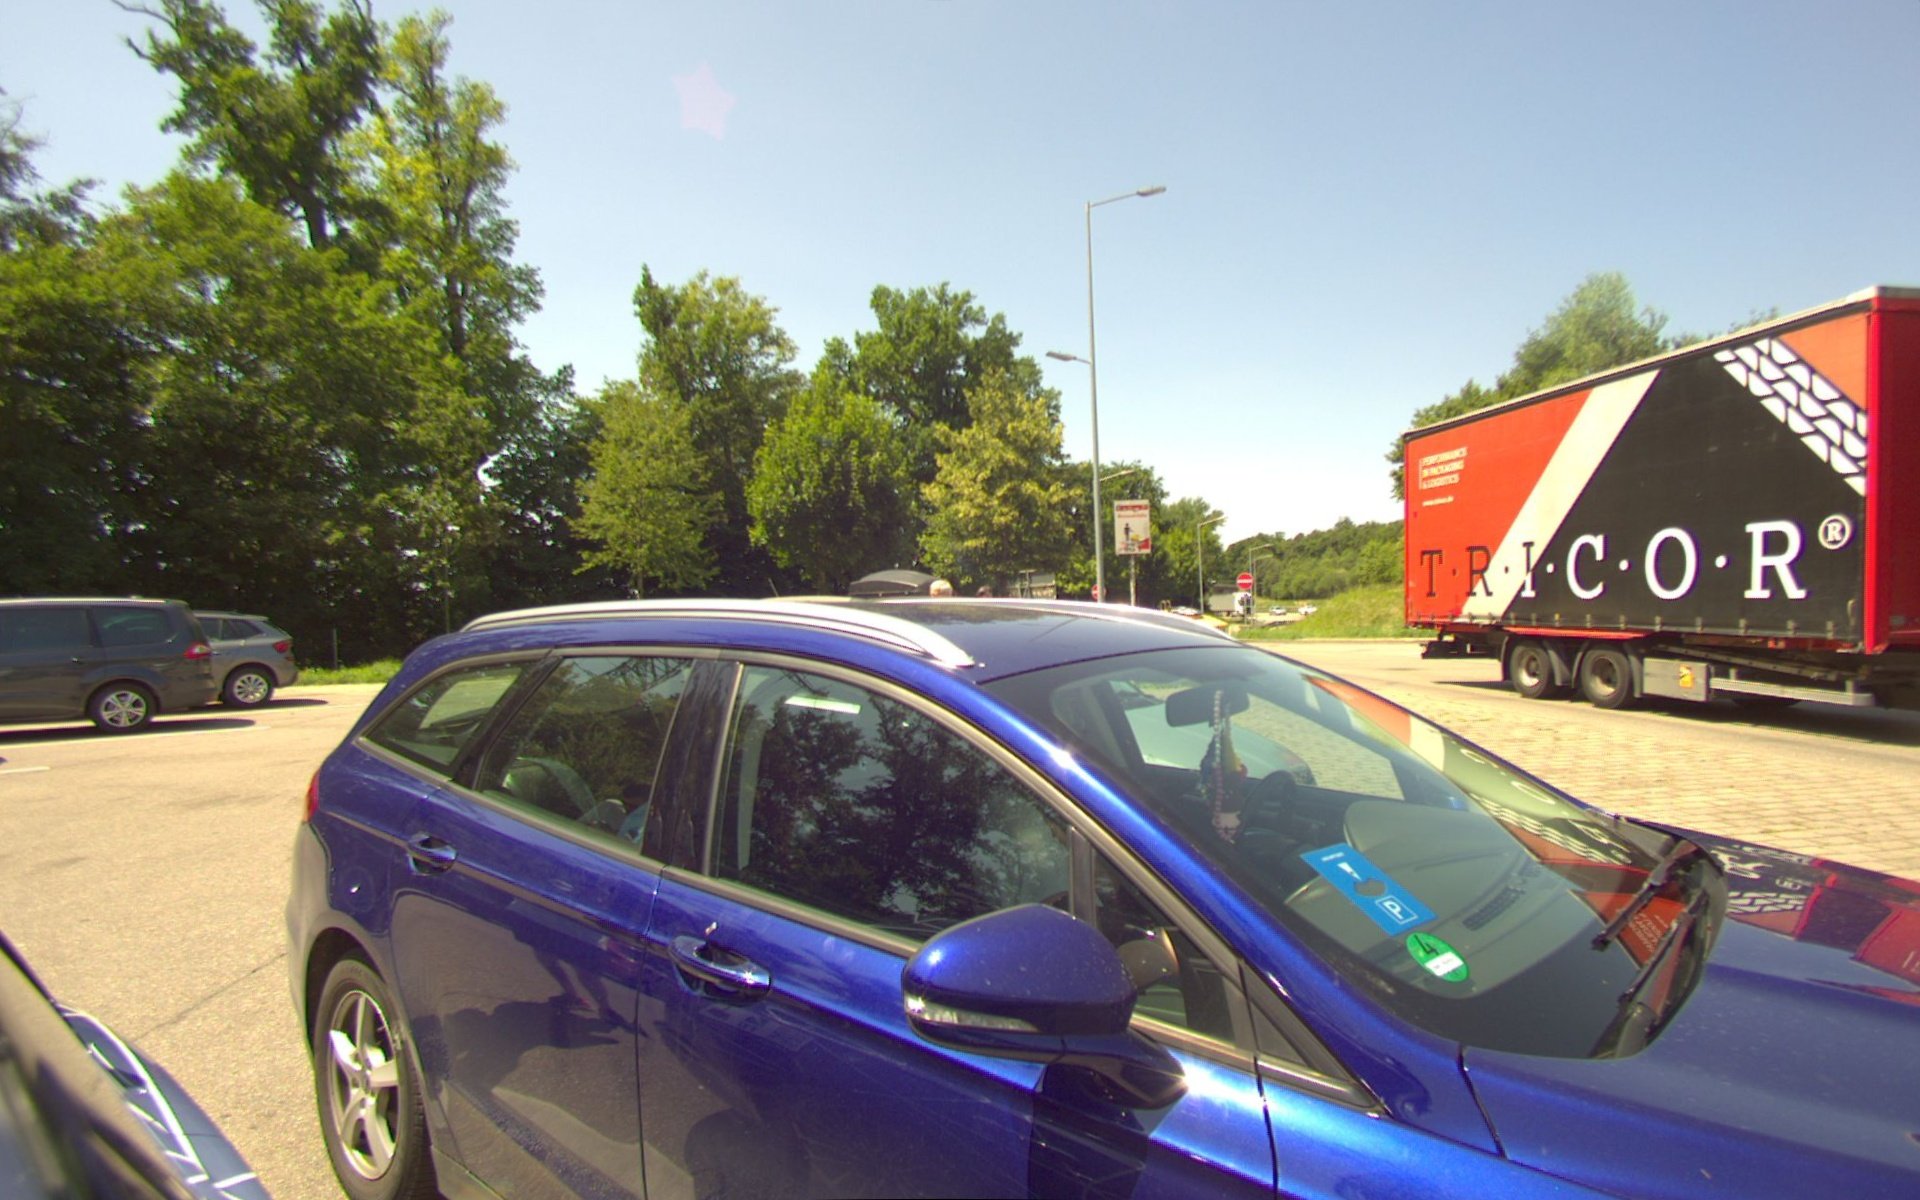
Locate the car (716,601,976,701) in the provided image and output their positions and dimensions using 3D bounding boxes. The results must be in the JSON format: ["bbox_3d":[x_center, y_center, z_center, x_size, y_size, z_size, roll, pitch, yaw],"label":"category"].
[{"bbox_3d":[-2.018,0.829,17.090,4.466,1.476,1.756,-3,-1,40],"label":"car"}]

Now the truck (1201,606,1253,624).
[{"bbox_3d":[46.773,2.624,177.891,2.512,2.944,16.283,-1,-1,-9],"label":"truck"}]

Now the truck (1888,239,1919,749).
[{"bbox_3d":[9.696,-0.987,3.275,2.652,4.159,10.618,-1,-1,-6],"label":"truck"}]

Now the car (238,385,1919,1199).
[{"bbox_3d":[0.236,0.631,2.105,4.466,1.476,1.756,-3,-1,40],"label":"car"}]

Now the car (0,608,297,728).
[{"bbox_3d":[-12.716,0.973,15.610,3.910,1.598,1.782,-1,-1,-43],"label":"car"}]

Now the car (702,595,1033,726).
[{"bbox_3d":[-1.365,0.758,13.536,4.466,1.476,1.756,-3,-1,40],"label":"car"}]

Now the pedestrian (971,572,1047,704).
[{"bbox_3d":[0.639,0.488,13.277,0.638,1.662,0.717,-1,-2,-43],"label":"pedestrian"}]

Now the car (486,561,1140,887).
[{"bbox_3d":[-1.228,0.631,6.712,4.466,1.476,1.756,-3,-1,40],"label":"car"}]

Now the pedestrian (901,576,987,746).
[{"bbox_3d":[-0.150,0.590,10.034,0.665,1.614,0.756,-2,-1,12],"label":"pedestrian"}]

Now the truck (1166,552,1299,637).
[{"bbox_3d":[12.814,-0.227,47.613,5.782,3.720,1.987,-2,-1,20],"label":"truck"}]

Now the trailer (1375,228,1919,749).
[{"bbox_3d":[8.798,-0.883,12.741,2.800,4.290,8.694,-2,-1,-5],"label":"trailer"}]

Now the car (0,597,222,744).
[{"bbox_3d":[-11.687,0.848,12.560,3.910,1.701,1.782,-1,-1,-43],"label":"car"}]
